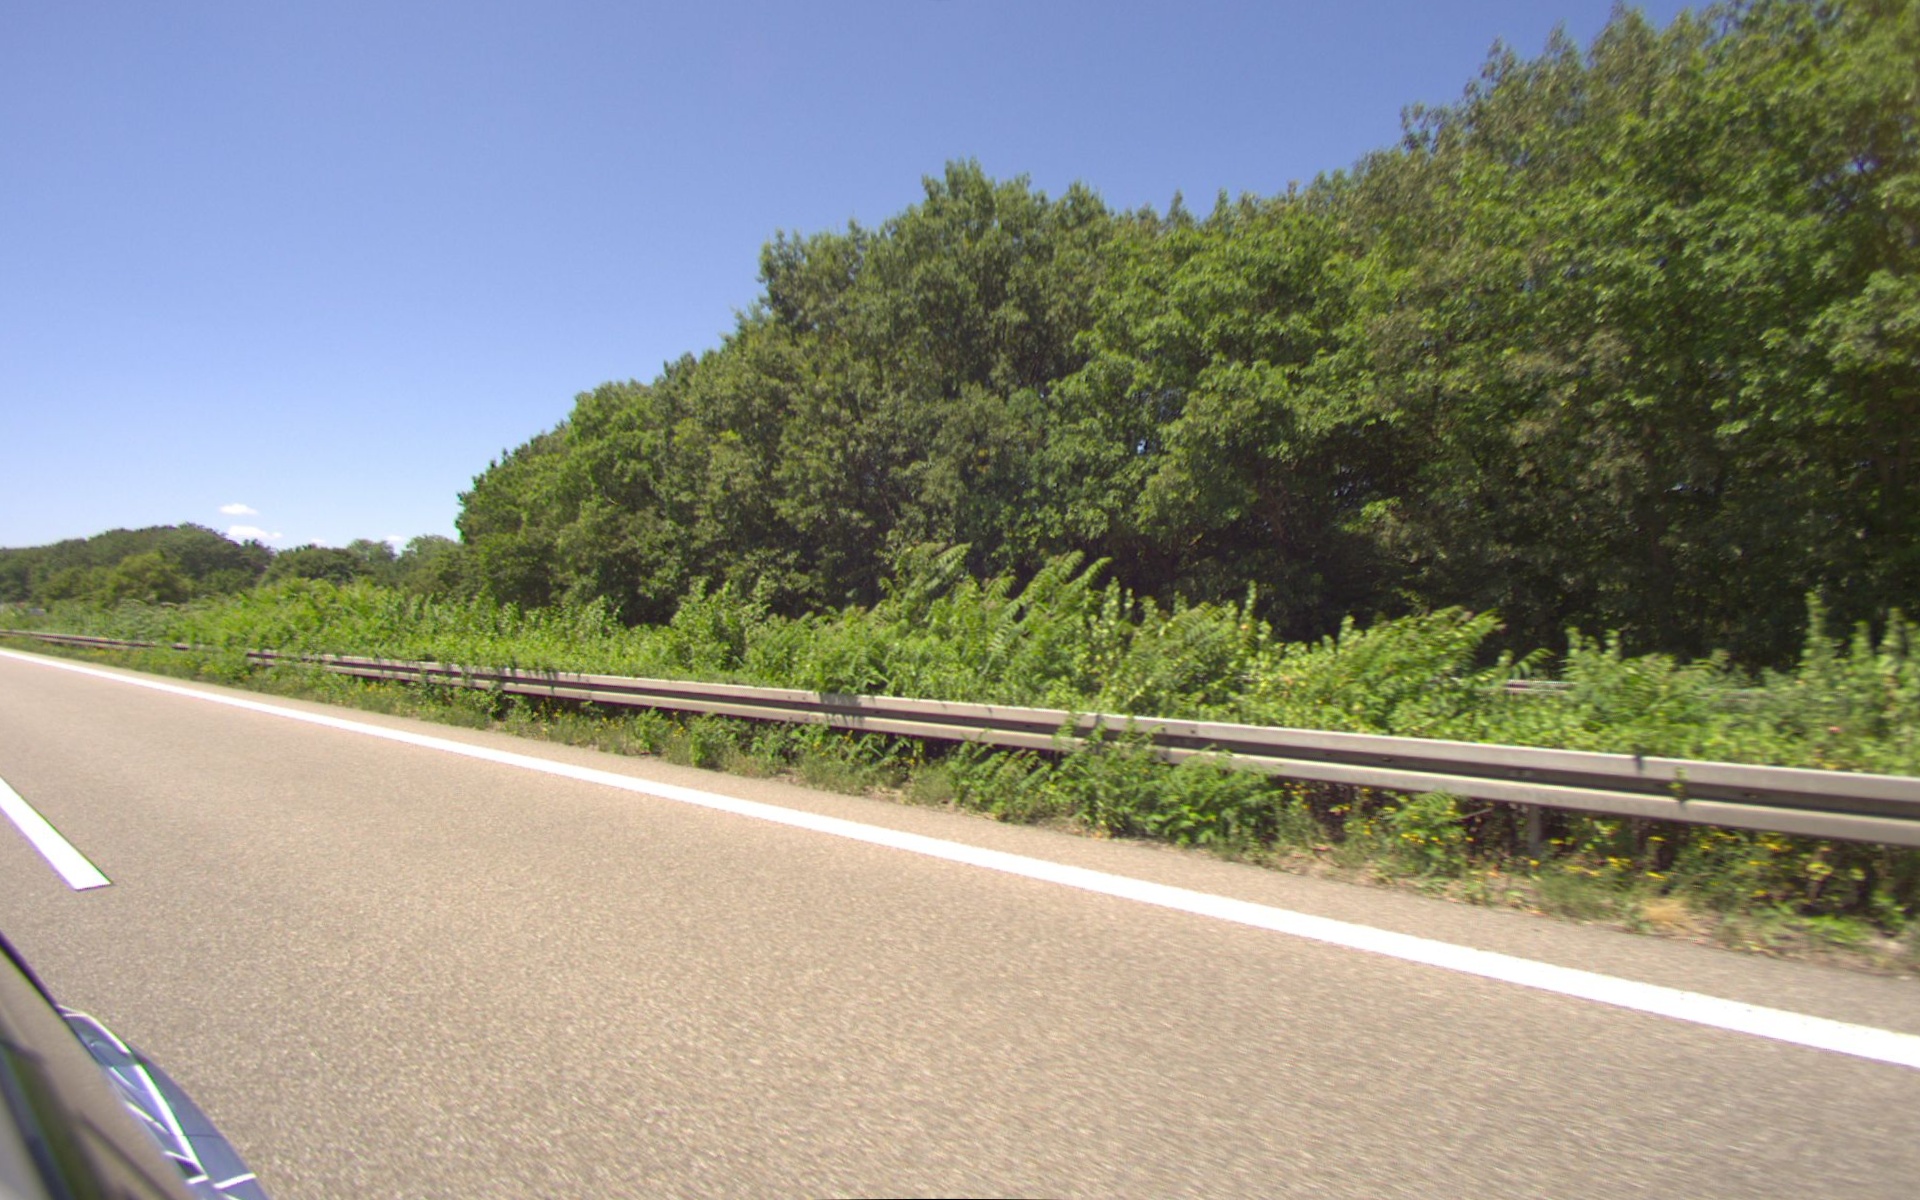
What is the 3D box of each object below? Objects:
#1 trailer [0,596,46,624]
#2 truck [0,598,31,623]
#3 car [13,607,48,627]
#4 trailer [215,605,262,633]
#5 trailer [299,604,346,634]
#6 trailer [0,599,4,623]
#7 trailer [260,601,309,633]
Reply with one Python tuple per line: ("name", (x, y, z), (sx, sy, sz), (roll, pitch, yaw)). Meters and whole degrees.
("trailer", (-130.515, 1.409, 140.766), (15.961, 3.607, 3.164), (-1, 0, 41))
("truck", (-137.860, 1.513, 147.243), (6.993, 3.607, 3.164), (-1, 0, 41))
("car", (-100.185, 1.814, 109.046), (6.630, 2.070, 2.124), (-1, 0, 41))
("trailer", (-121.757, 3.207, 170.676), (14.019, 4.627, 3.562), (-1, -2, 42))
("trailer", (-103.071, 3.052, 163.482), (3.558, 4.627, 14.035), (2, -2, -44))
("trailer", (-163.248, 1.892, 169.657), (14.017, 3.854, 3.164), (-1, 0, 42))
("trailer", (-93.092, 2.265, 139.244), (3.178, 4.167, 14.062), (-1, 0, -44))
